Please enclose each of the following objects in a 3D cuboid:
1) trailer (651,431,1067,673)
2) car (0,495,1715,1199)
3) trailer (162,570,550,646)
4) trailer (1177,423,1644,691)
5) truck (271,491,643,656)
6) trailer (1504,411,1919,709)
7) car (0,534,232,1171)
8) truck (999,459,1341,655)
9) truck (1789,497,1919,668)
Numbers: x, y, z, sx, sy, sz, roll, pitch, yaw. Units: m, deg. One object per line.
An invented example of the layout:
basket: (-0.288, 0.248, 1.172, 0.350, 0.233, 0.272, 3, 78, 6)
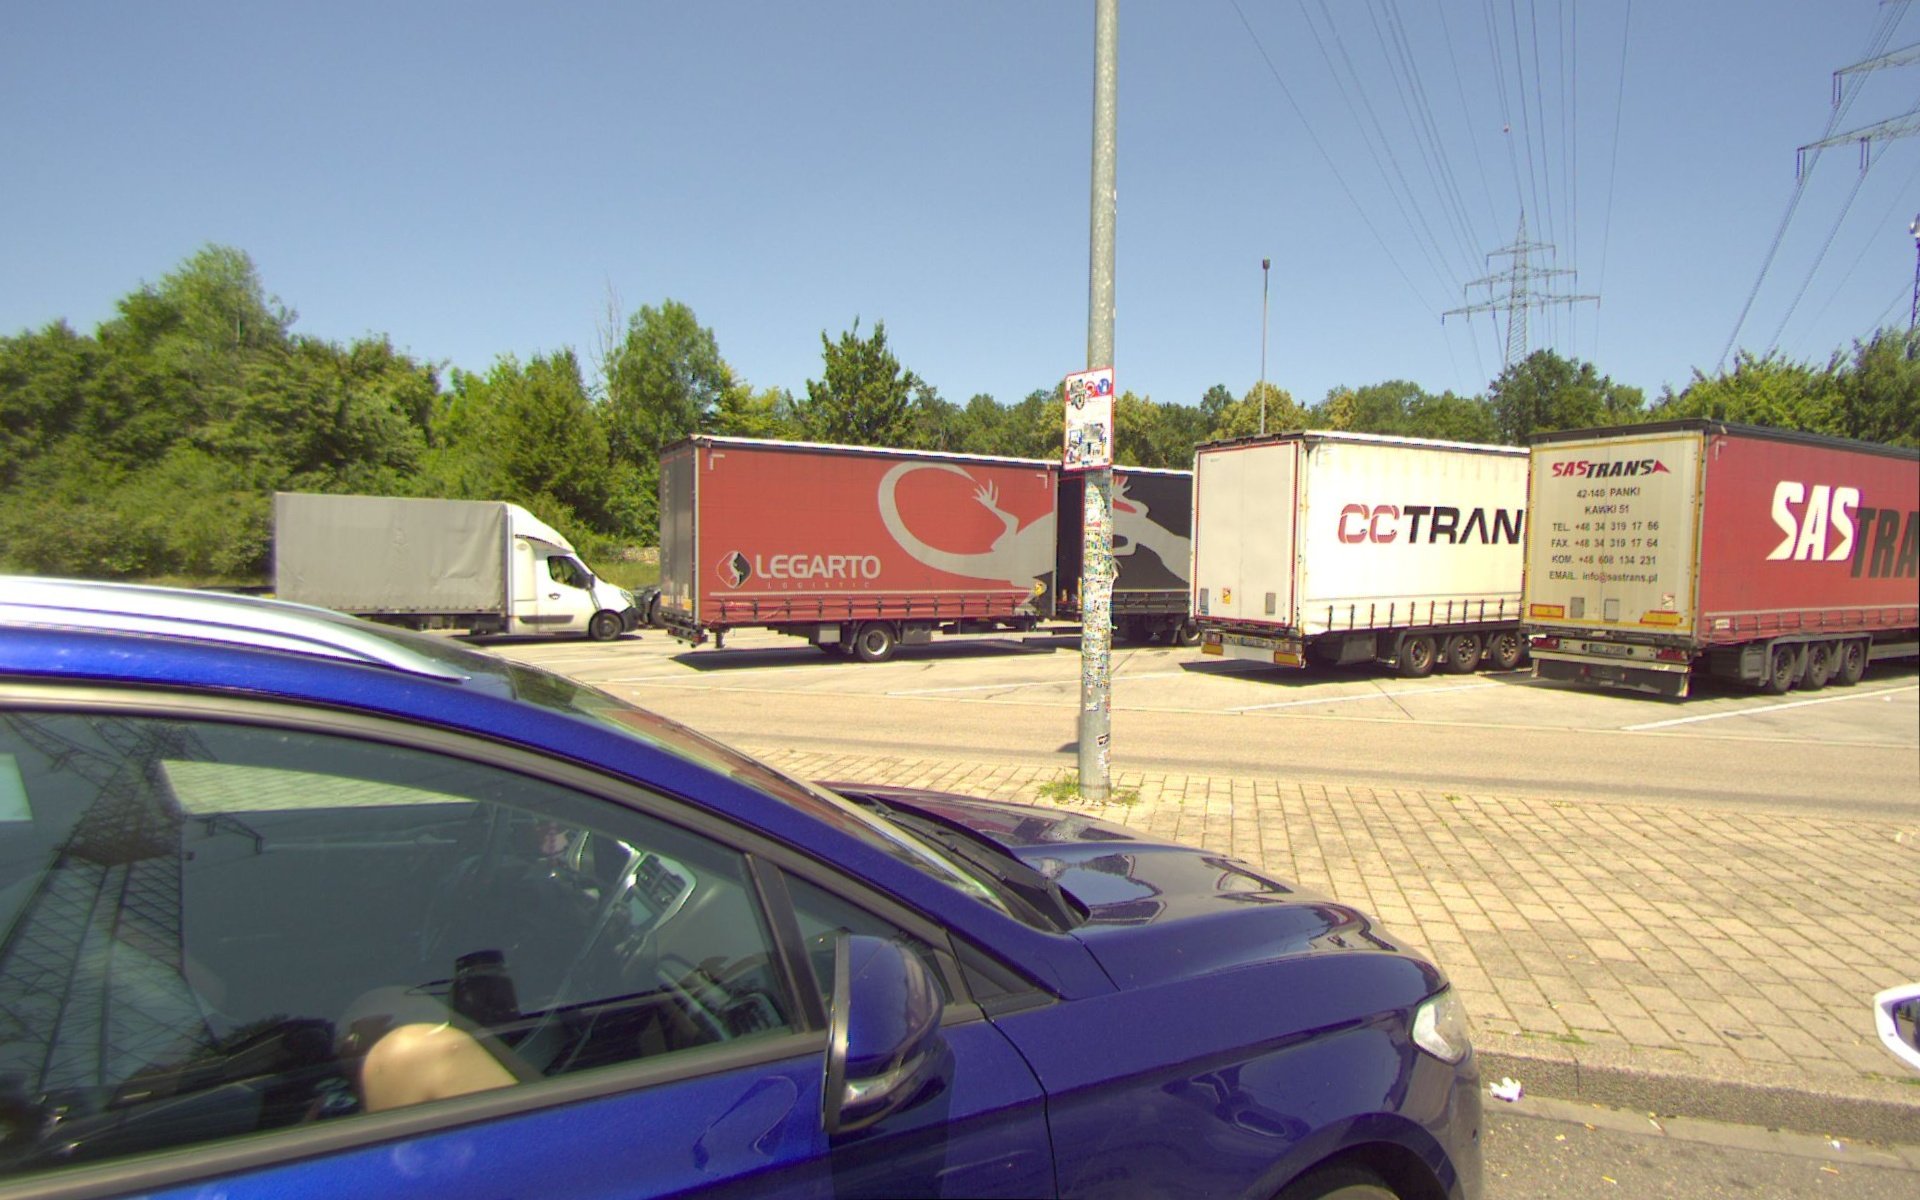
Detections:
trailer: (-1.868, -0.902, 20.330, 8.007, 4.127, 2.693, -1, 3, -30)
car: (-0.956, 0.653, 1.452, 4.522, 1.491, 1.743, 0, 2, -32)
trailer: (-14.737, 0.107, 25.231, 8.007, 1.648, 2.199, -1, 3, -30)
trailer: (8.986, -0.770, 19.346, 10.264, 4.158, 2.693, -1, 3, -30)
truck: (-11.226, -0.621, 22.993, 7.187, 3.289, 2.694, -1, 3, -29)
trailer: (15.480, -0.677, 18.613, 13.599, 4.127, 2.807, -1, 3, -31)
car: (-4.397, 0.580, 2.088, 4.522, 1.526, 1.743, 0, 2, -32)
truck: (5.284, -0.998, 24.540, 8.586, 4.127, 2.693, -1, 3, -30)
truck: (21.271, -0.404, 22.051, 5.903, 3.409, 2.798, -1, 3, -30)
